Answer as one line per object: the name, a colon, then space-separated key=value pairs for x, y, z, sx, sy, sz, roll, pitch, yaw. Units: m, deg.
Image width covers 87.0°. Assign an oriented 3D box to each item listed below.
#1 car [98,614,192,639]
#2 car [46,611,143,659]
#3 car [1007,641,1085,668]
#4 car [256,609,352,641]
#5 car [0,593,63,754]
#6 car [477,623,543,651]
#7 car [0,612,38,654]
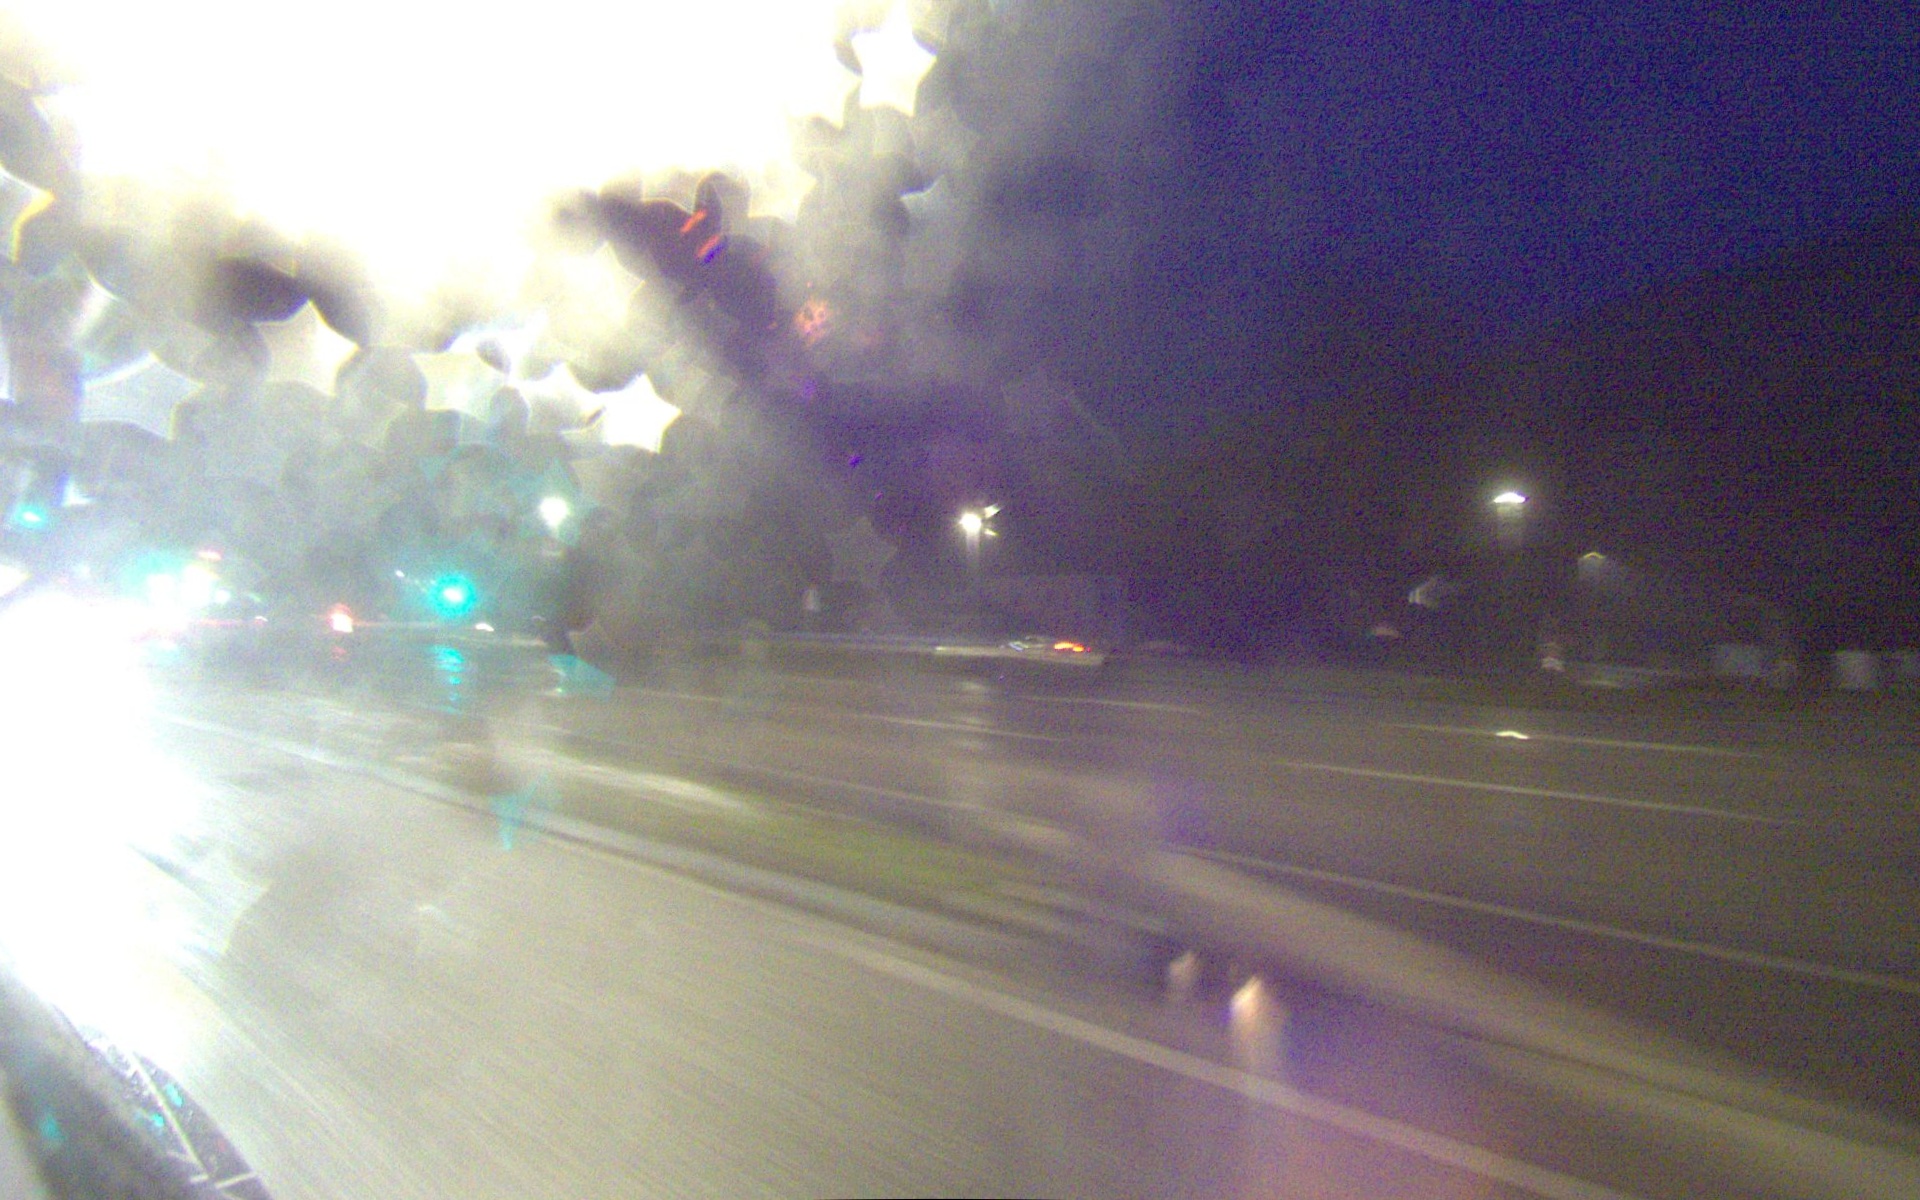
car: x=-51.238 y=1.646 z=63.733 sx=4.068 sy=1.460 sz=2.186 roll=1 pitch=0 yaw=-12
car: x=-31.170 y=1.231 z=36.410 sx=4.592 sy=1.545 sz=1.692 roll=1 pitch=0 yaw=37
car: x=5.331 y=3.345 z=62.980 sx=4.546 sy=1.408 sz=1.975 roll=1 pitch=0 yaw=36
car: x=-42.363 y=1.630 z=65.491 sx=4.839 sy=1.954 sz=2.006 roll=1 pitch=0 yaw=-20
car: x=-12.505 y=0.789 z=11.872 sx=4.928 sy=1.717 sz=1.893 roll=-1 pitch=-1 yaw=36
car: x=-30.759 y=2.513 z=69.312 sx=4.030 sy=1.796 sz=2.007 roll=1 pitch=0 yaw=-23
car: x=-41.835 y=1.416 z=44.120 sx=4.136 sy=1.716 sz=1.702 roll=0 pitch=-1 yaw=37
